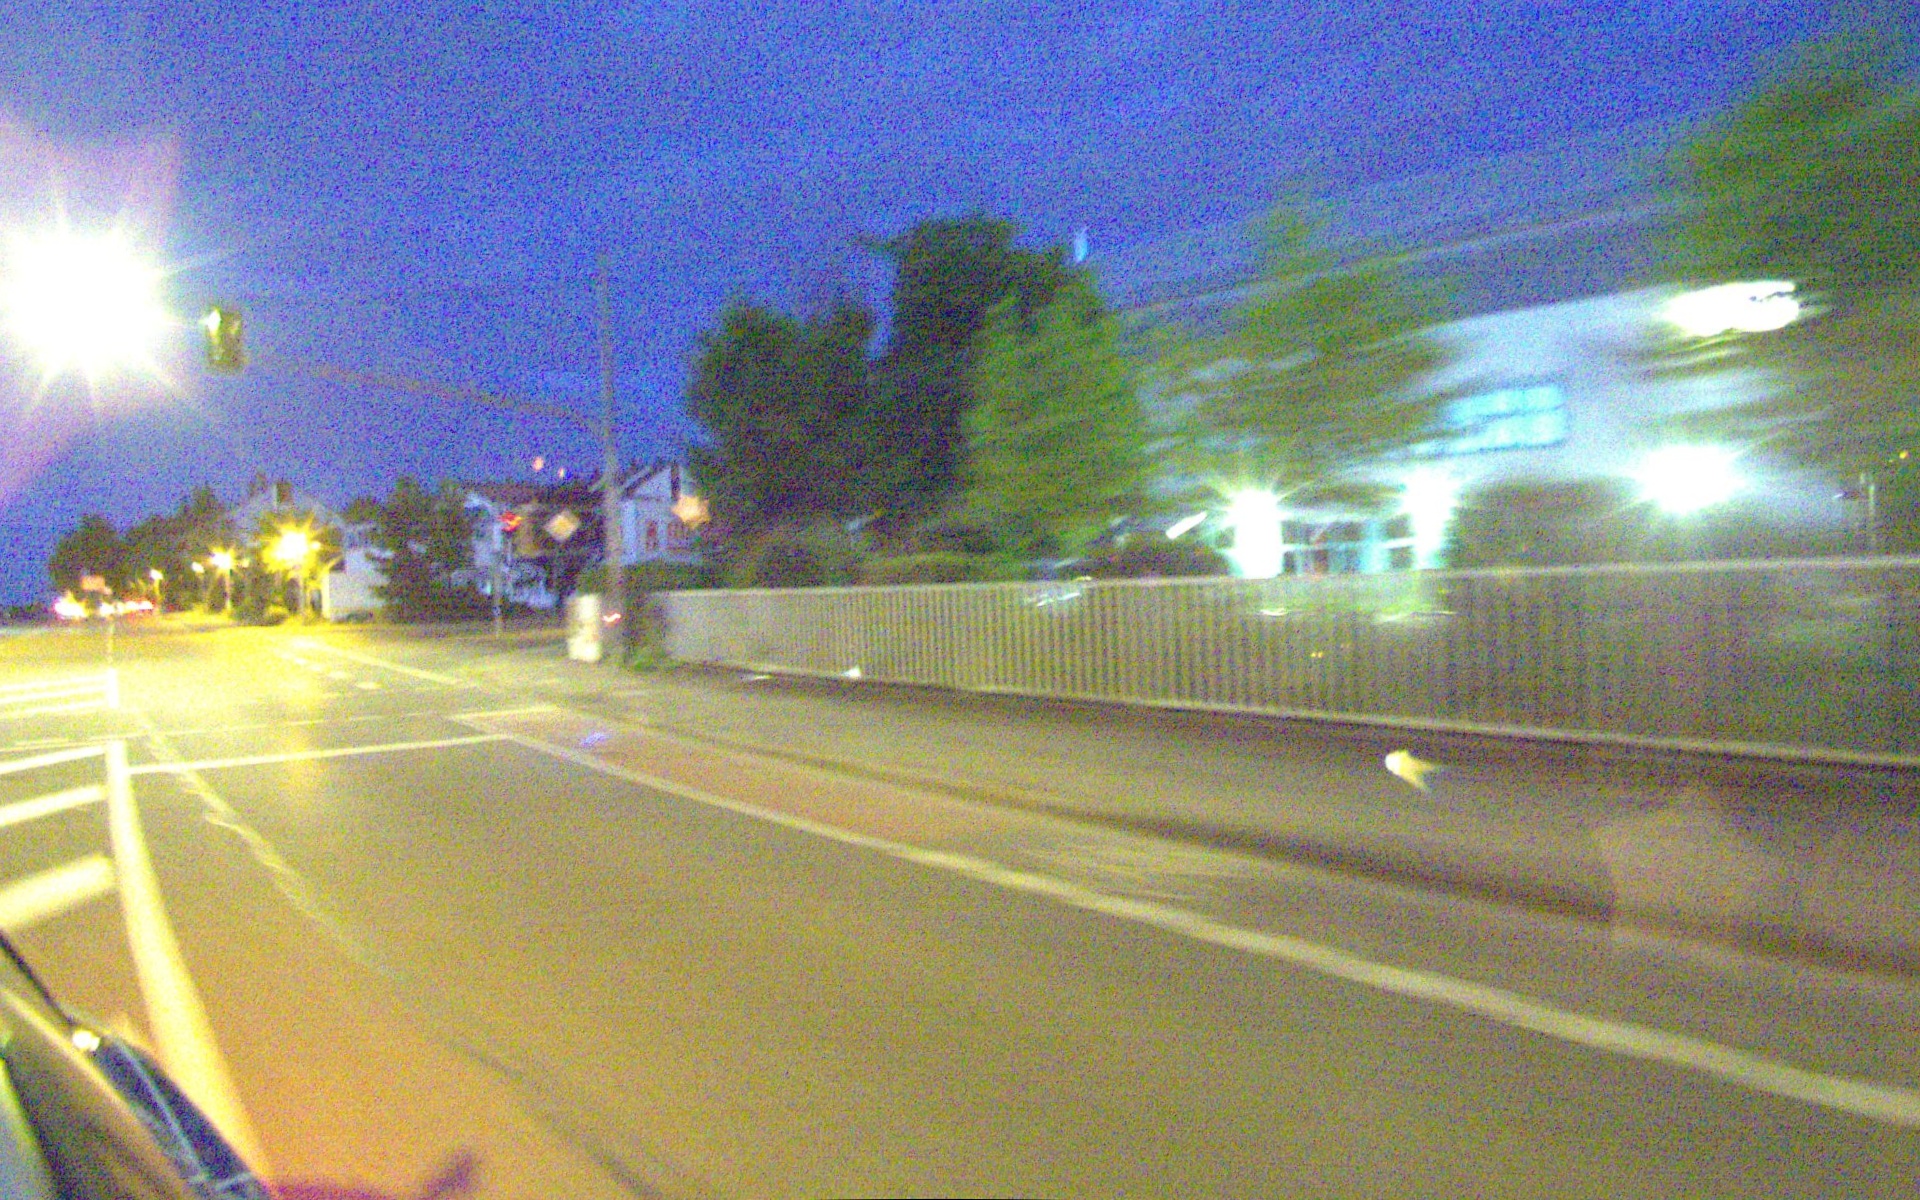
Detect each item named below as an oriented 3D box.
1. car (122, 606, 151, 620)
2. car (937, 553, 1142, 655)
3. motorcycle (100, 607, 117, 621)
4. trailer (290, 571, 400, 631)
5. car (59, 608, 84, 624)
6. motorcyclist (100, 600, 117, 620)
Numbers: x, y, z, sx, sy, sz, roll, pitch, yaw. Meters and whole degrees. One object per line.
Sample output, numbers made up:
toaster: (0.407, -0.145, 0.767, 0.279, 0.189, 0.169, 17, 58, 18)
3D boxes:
car: (-85.604, 1.355, 105.226, 1.828, 1.456, 4.919, -2, 1, -45)
car: (1.652, 0.031, 19.969, 1.999, 1.785, 4.084, -1, 1, 41)
motorcycle: (-81.638, 1.335, 97.020, 2.827, 1.314, 0.986, 0, 1, 44)
trailer: (-29.708, 0.072, 48.919, 4.295, 2.741, 2.003, 0, -1, -41)
car: (-97.952, 1.759, 111.626, 1.969, 1.639, 4.759, -2, 1, -41)
motorcyclist: (-81.604, 0.930, 96.998, 0.834, 1.914, 1.121, -1, 1, 43)
